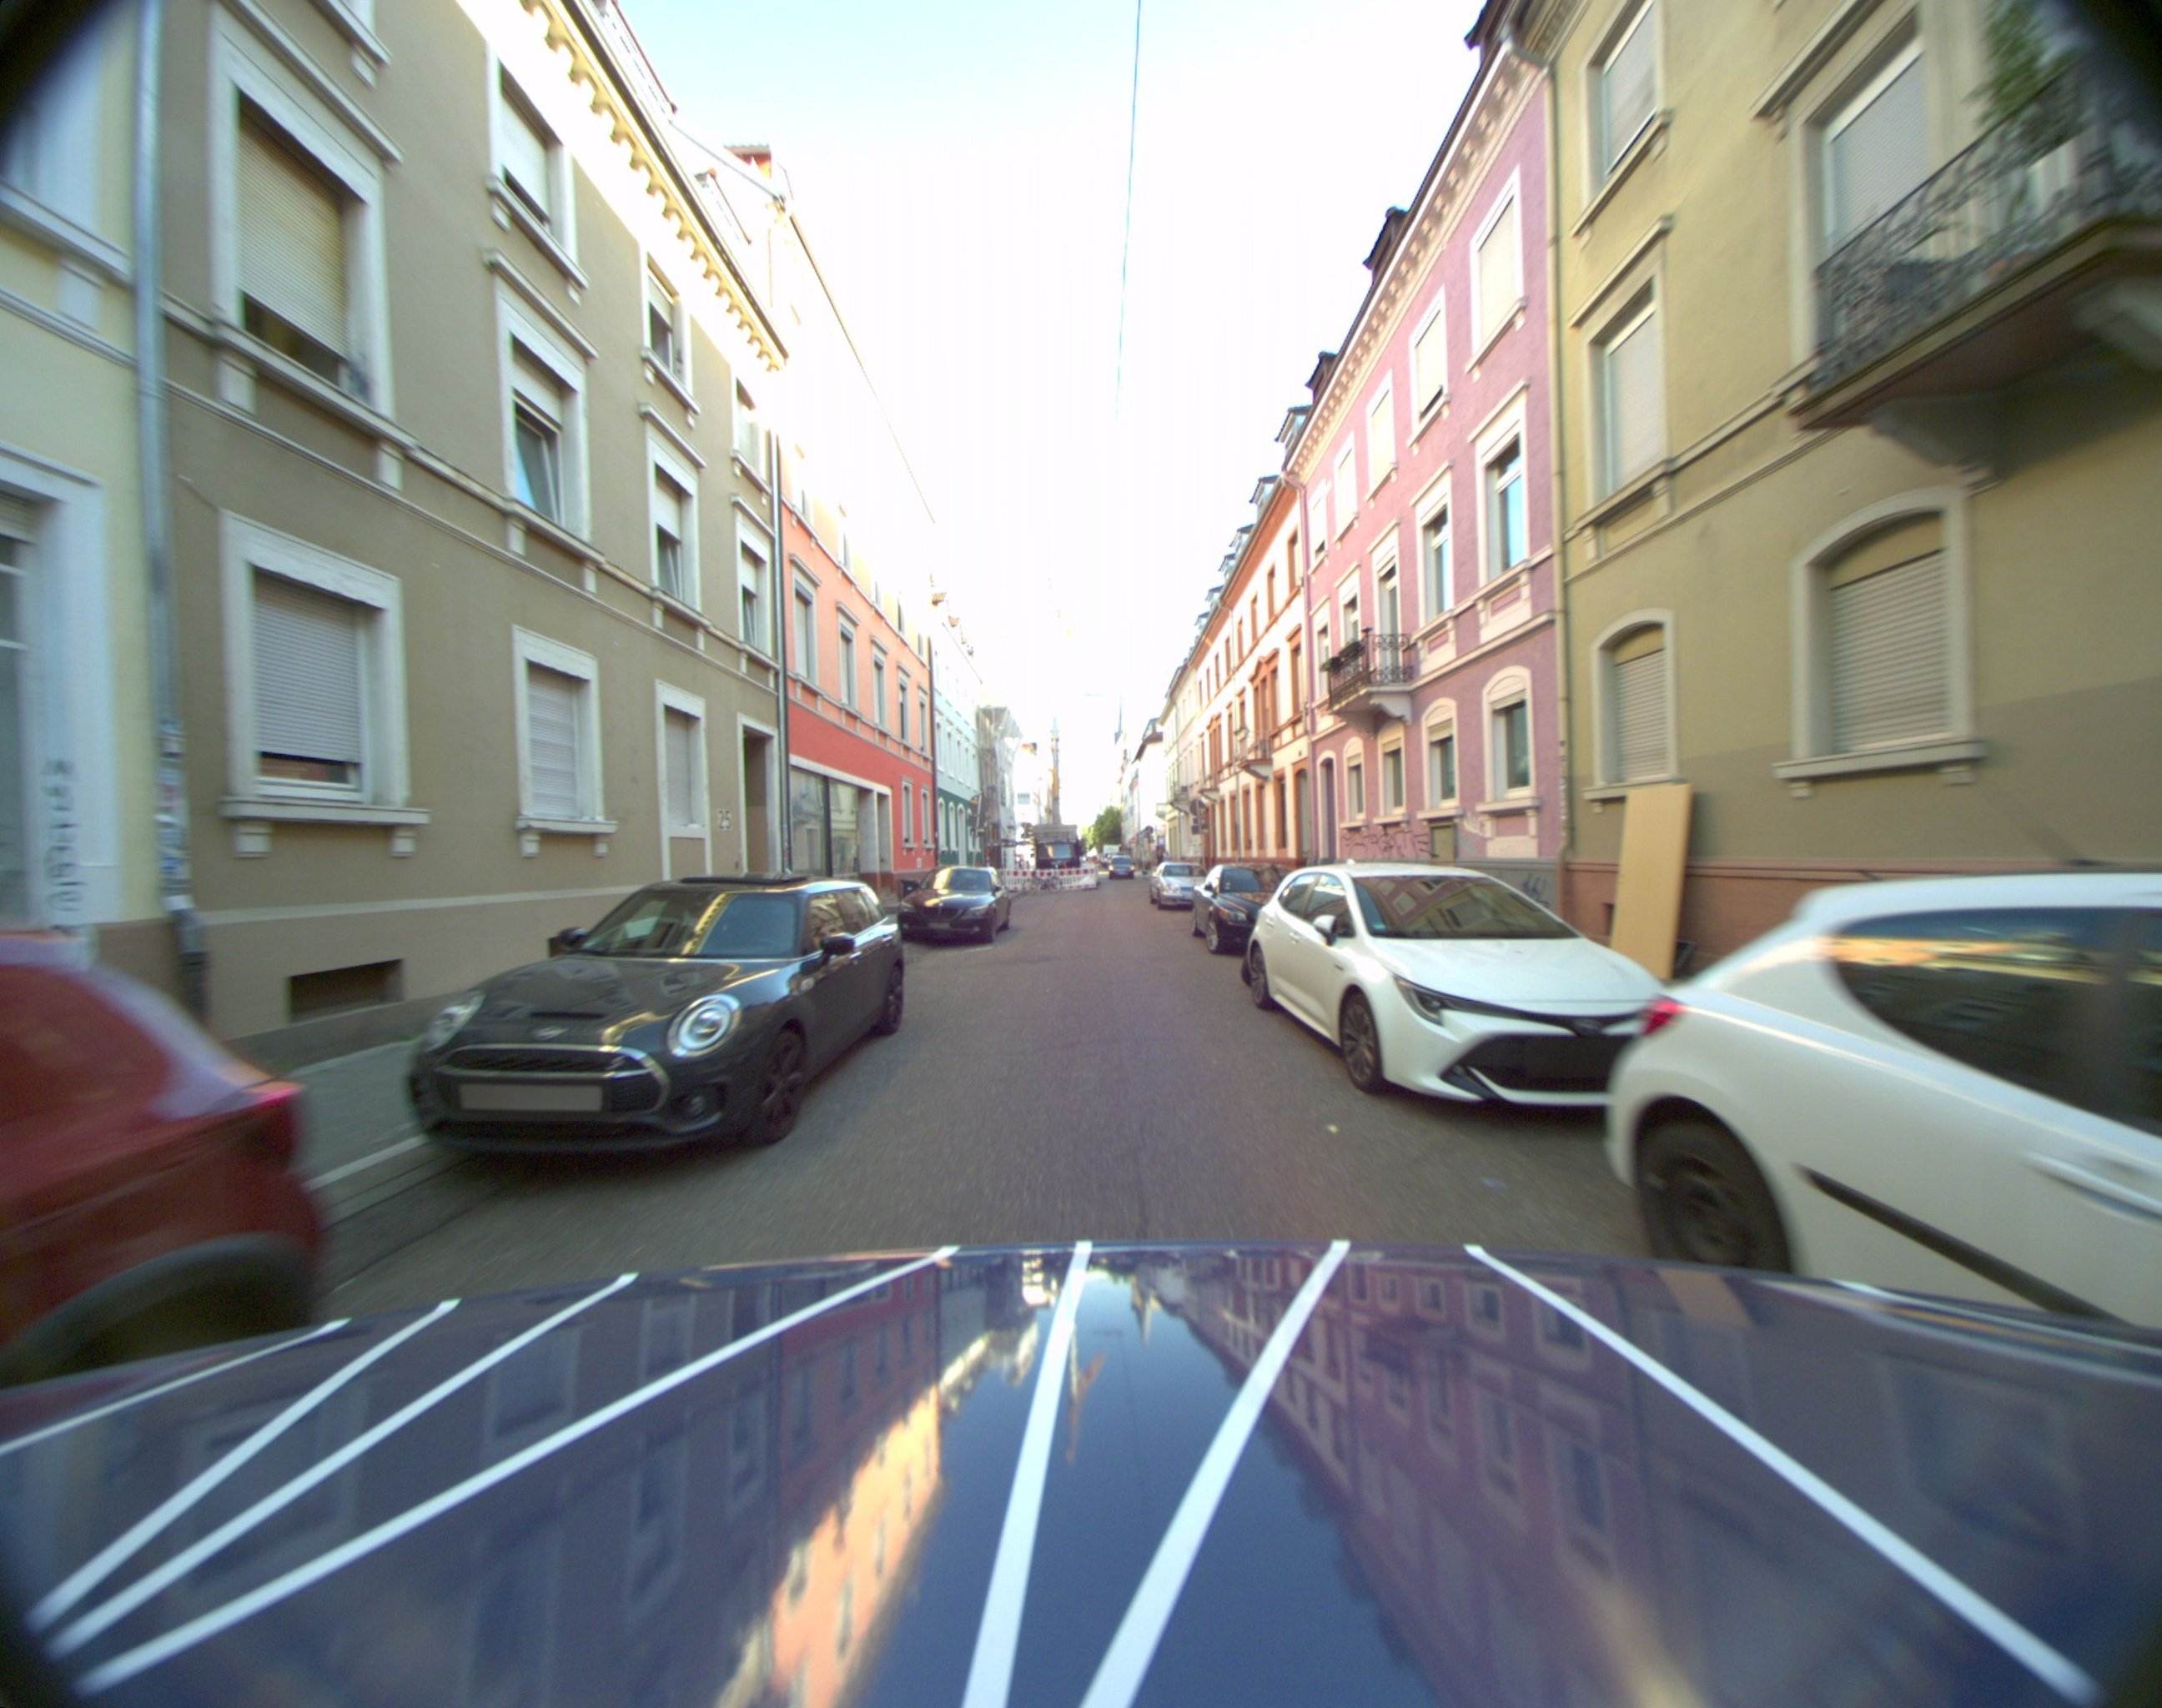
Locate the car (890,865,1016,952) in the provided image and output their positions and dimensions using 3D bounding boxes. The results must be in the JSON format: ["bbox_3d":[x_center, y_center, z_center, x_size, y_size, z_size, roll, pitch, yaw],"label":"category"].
[{"bbox_3d":[-2.489,1.015,15.908,1.831,1.474,4.464,-1,0,0],"label":"car"}]

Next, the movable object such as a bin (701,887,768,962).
[{"bbox_3d":[-5.293,1.065,11.640,0.717,1.102,0.642,0,0,1],"label":"movable object such as a bin"}]

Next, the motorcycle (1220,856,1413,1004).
[{"bbox_3d":[2.733,0.825,8.836,1.969,1.470,0.822,-3,1,-19],"label":"motorcycle"}]

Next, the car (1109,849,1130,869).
[{"bbox_3d":[3.972,0.475,78.315,1.998,2.002,4.258,-1,0,2],"label":"car"}]

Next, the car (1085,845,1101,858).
[{"bbox_3d":[1.631,-0.341,104.303,1.998,1.749,4.255,-3,0,0],"label":"car"}]

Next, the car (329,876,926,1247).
[{"bbox_3d":[-2.552,1.033,5.720,1.766,1.513,4.380,-2,0,1],"label":"car"}]

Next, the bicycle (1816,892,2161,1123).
[{"bbox_3d":[5.459,0.832,4.671,0.418,1.095,1.494,-3,0,1],"label":"bicycle"}]

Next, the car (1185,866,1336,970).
[{"bbox_3d":[2.832,0.939,12.876,1.730,1.383,4.303,0,0,3],"label":"car"}]

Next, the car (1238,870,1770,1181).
[{"bbox_3d":[2.572,0.907,5.929,1.792,1.454,4.200,-1,0,0],"label":"car"}]

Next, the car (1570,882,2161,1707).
[{"bbox_3d":[2.770,0.849,0.910,1.794,1.443,4.000,-1,0,0],"label":"car"}]

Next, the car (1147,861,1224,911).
[{"bbox_3d":[3.086,0.901,23.248,1.771,1.335,4.380,0,0,0],"label":"car"}]

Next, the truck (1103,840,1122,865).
[{"bbox_3d":[4.419,-0.184,106.955,2.524,3.271,6.643,-2,0,2],"label":"truck"}]

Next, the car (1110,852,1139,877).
[{"bbox_3d":[2.971,0.706,52.972,1.832,1.650,4.213,-1,0,1],"label":"car"}]

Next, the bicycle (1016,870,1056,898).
[{"bbox_3d":[-2.057,1.350,34.466,1.713,1.130,0.470,-3,1,-10],"label":"bicycle"}]

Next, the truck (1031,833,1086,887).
[{"bbox_3d":[-1.171,0.338,44.825,2.819,2.735,7.678,-3,0,0],"label":"truck"}]

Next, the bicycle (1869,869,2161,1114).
[{"bbox_3d":[5.845,0.740,4.722,0.319,1.253,1.494,-3,0,1],"label":"bicycle"}]
